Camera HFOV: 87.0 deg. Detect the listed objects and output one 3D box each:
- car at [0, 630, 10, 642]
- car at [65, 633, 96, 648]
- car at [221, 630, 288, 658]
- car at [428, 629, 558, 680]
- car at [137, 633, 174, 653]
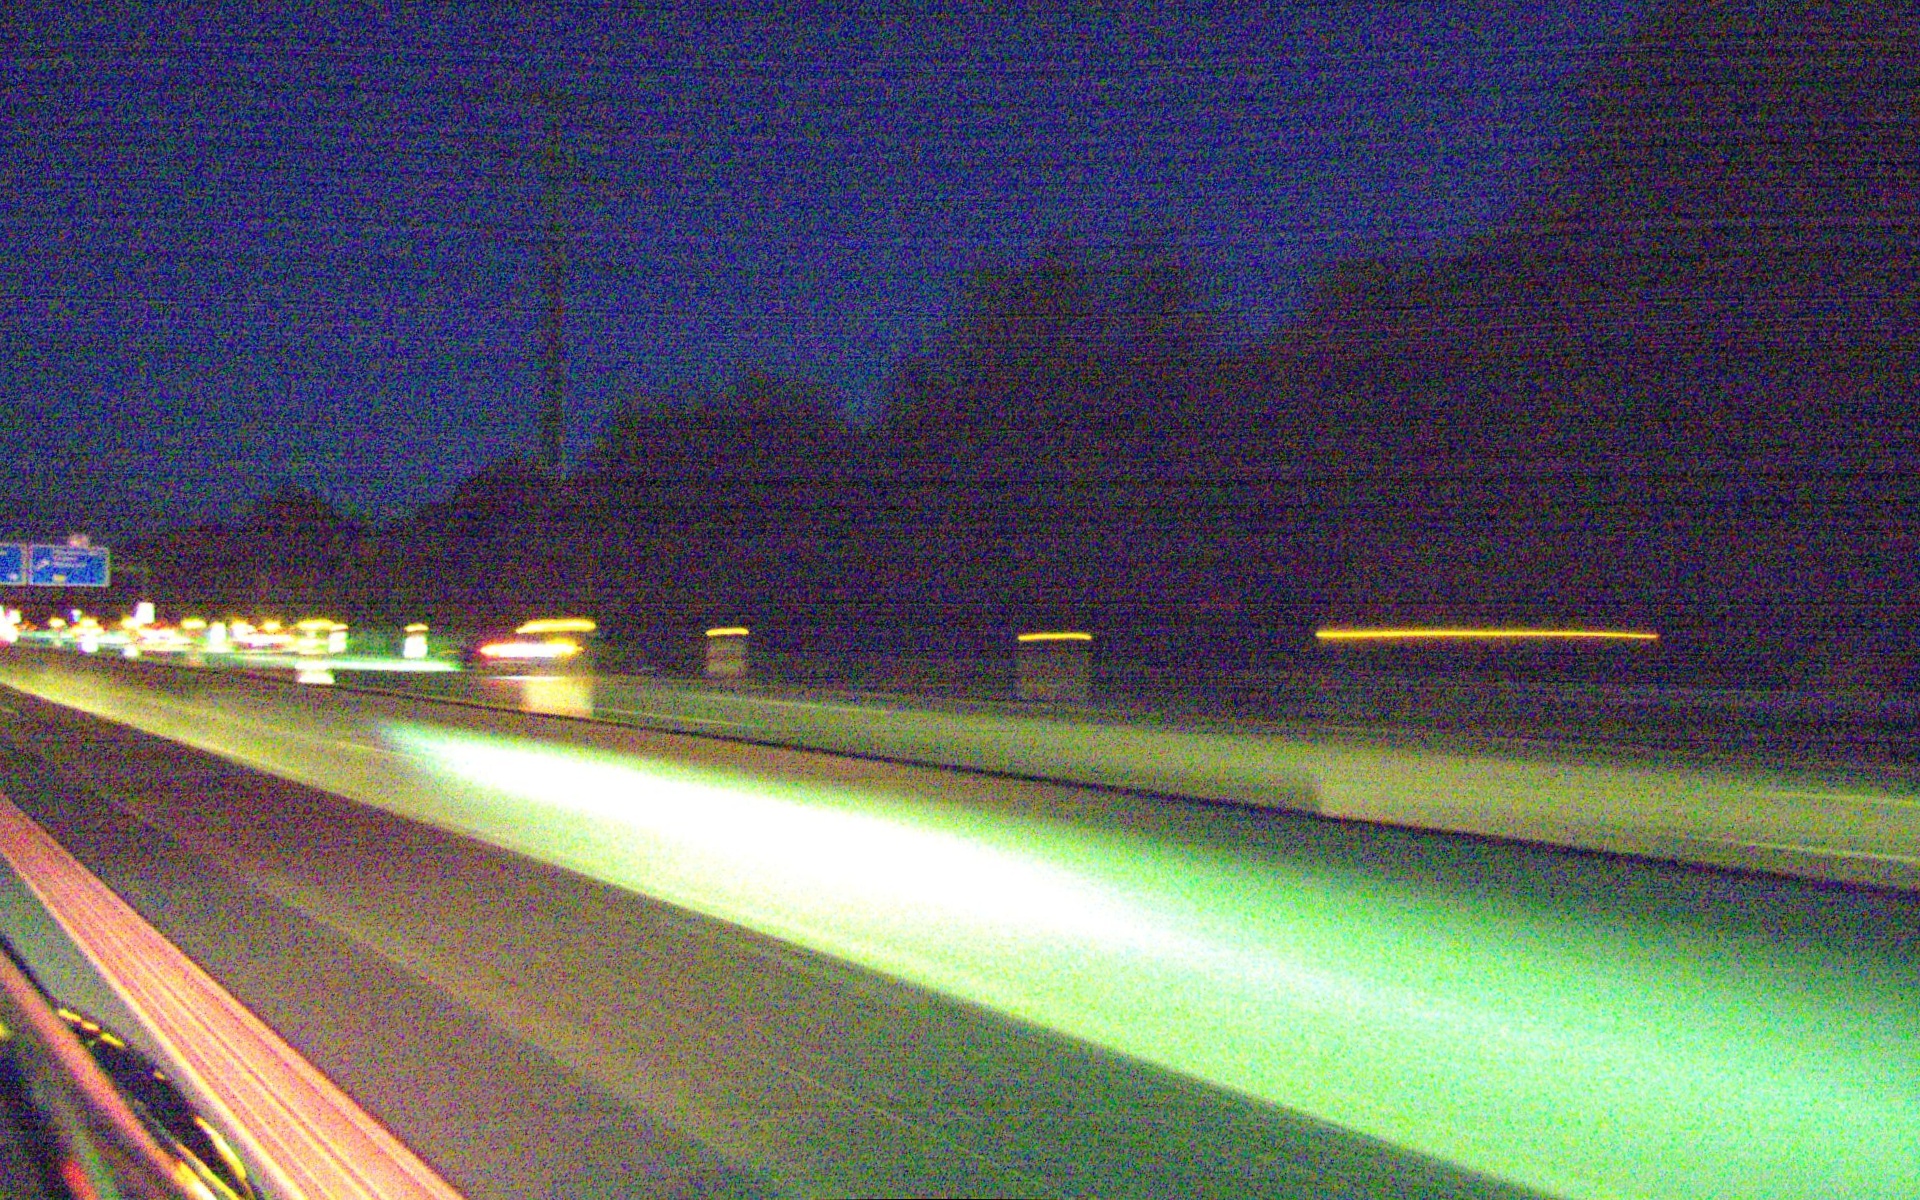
[{"bbox_3d":[-121.103,4.558,127.296,4.940,1.490,1.732,-1,-3,41],"label":"car"},{"bbox_3d":[-85.967,3.944,98.943,4.481,1.490,1.731,-1,-3,42],"label":"car"},{"bbox_3d":[-35.320,2.196,50.603,4.807,1.344,1.644,-1,-3,42],"label":"car"},{"bbox_3d":[-14.093,1.605,30.416,4.873,1.405,1.615,-1,-3,40],"label":"car"},{"bbox_3d":[-61.522,3.301,77.383,1.730,1.490,4.729,3,-3,-44],"label":"car"}]
